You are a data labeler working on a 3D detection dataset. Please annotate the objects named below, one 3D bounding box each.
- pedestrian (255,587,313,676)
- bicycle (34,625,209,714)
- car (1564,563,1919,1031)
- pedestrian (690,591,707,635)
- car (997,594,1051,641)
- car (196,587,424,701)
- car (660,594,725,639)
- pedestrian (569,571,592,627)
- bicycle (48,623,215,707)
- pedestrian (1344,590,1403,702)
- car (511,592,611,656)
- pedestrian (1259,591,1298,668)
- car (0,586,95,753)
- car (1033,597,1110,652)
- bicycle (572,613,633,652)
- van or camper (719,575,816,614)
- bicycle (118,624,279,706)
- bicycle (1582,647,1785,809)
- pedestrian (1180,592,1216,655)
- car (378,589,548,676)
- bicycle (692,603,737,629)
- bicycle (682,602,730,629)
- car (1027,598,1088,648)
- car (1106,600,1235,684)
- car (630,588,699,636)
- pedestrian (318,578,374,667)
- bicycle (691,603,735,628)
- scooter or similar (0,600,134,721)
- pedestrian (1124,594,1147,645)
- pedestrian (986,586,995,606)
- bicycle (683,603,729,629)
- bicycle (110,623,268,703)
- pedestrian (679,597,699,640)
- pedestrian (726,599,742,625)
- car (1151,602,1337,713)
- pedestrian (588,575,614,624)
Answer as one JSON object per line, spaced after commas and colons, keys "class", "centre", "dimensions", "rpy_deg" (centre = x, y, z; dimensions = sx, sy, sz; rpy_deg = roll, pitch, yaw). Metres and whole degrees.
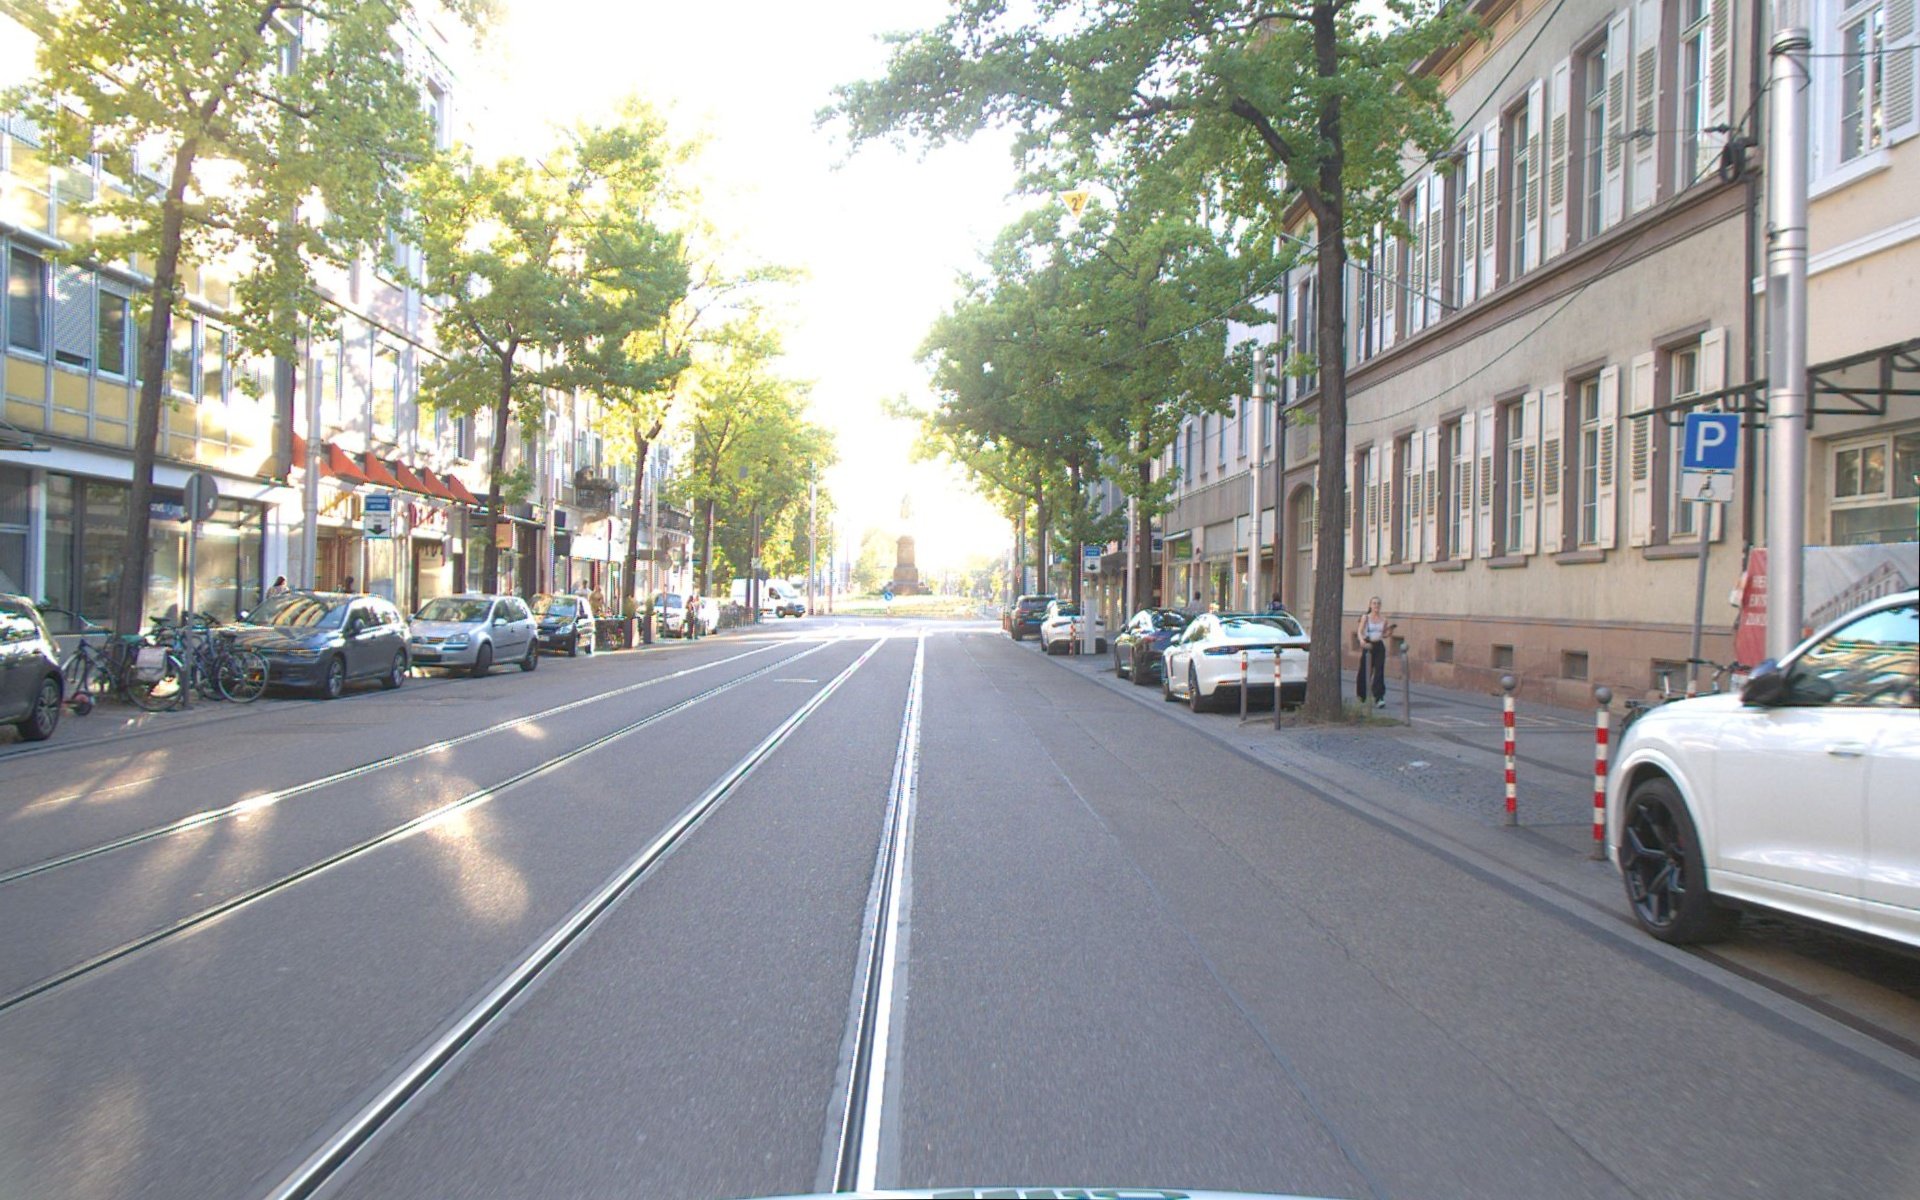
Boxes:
{"class": "pedestrian", "centre": [-13.277, 0.614, 32.516], "dimensions": [0.773, 1.723, 0.913], "rpy_deg": [1, 0, -2]}
{"class": "bicycle", "centre": [-10.040, 0.825, 19.823], "dimensions": [1.930, 1.019, 0.330], "rpy_deg": [1, 0, 1]}
{"class": "car", "centre": [4.455, 0.705, 6.583], "dimensions": [1.958, 1.717, 4.963], "rpy_deg": [-1, 0, -4]}
{"class": "pedestrian", "centre": [-9.417, 0.469, 59.515], "dimensions": [0.510, 1.596, 0.633], "rpy_deg": [0, -1, -1]}
{"class": "car", "centre": [2.609, 0.693, 68.339], "dimensions": [1.899, 1.790, 4.678], "rpy_deg": [-3, 0, -1]}
{"class": "car", "centre": [-9.650, 0.602, 24.965], "dimensions": [1.677, 1.486, 4.485], "rpy_deg": [2, 0, -1]}
{"class": "car", "centre": [-10.786, 0.644, 66.985], "dimensions": [1.799, 1.607, 4.701], "rpy_deg": [4, 0, -1]}
{"class": "pedestrian", "centre": [-13.964, -0.036, 60.872], "dimensions": [0.707, 2.049, 0.642], "rpy_deg": [1, 0, -1]}
{"class": "bicycle", "centre": [-10.543, 0.815, 21.062], "dimensions": [1.929, 1.019, 0.419], "rpy_deg": [1, 0, 3]}
{"class": "pedestrian", "centre": [6.041, 0.664, 24.178], "dimensions": [0.636, 1.601, 0.798], "rpy_deg": [1, 0, -1]}
{"class": "car", "centre": [-10.079, 0.588, 42.035], "dimensions": [1.632, 1.453, 3.826], "rpy_deg": [4, 0, -2]}
{"class": "pedestrian", "centre": [7.220, 0.663, 37.547], "dimensions": [0.644, 1.694, 0.888], "rpy_deg": [-2, 0, -2]}
{"class": "car", "centre": [-9.706, 0.619, 15.104], "dimensions": [1.758, 1.516, 4.236], "rpy_deg": [2, 0, -7]}
{"class": "car", "centre": [3.391, 0.727, 50.969], "dimensions": [1.953, 1.524, 4.679], "rpy_deg": [-2, 0, -1]}
{"class": "bicycle", "centre": [-10.000, 0.906, 46.311], "dimensions": [1.582, 0.982, 0.433], "rpy_deg": [3, 0, 4]}
{"class": "van or camper", "centre": [-12.990, -0.386, 111.397], "dimensions": [6.185, 2.516, 2.609], "rpy_deg": [1, 0, 32]}
{"class": "bicycle", "centre": [-9.898, 0.841, 21.520], "dimensions": [1.930, 1.019, 0.330], "rpy_deg": [1, 0, 1]}
{"class": "bicycle", "centre": [5.654, 0.959, 13.056], "dimensions": [0.410, 1.119, 1.983], "rpy_deg": [-1, 0, -11]}
{"class": "pedestrian", "centre": [6.931, 0.673, 48.228], "dimensions": [0.841, 1.783, 0.932], "rpy_deg": [-2, 0, -1]}
{"class": "car", "centre": [-9.353, 0.589, 31.496], "dimensions": [1.730, 1.523, 4.176], "rpy_deg": [1, 0, 4]}
{"class": "bicycle", "centre": [-11.573, 0.745, 78.055], "dimensions": [1.982, 1.124, 0.501], "rpy_deg": [3, -1, 1]}
{"class": "bicycle", "centre": [-11.673, 0.710, 75.947], "dimensions": [2.083, 1.124, 0.497], "rpy_deg": [3, -1, -27]}
{"class": "car", "centre": [3.416, 0.774, 58.572], "dimensions": [1.740, 1.618, 3.890], "rpy_deg": [-3, 0, -2]}
{"class": "car", "centre": [4.134, 0.778, 33.176], "dimensions": [1.796, 1.504, 4.760], "rpy_deg": [-1, 0, -2]}
{"class": "car", "centre": [-10.980, 0.427, 61.728], "dimensions": [1.799, 1.607, 4.115], "rpy_deg": [4, 0, -1]}
{"class": "pedestrian", "centre": [-12.126, 0.442, 32.694], "dimensions": [0.827, 1.723, 0.740], "rpy_deg": [1, 0, -2]}
{"class": "bicycle", "centre": [-11.743, 0.739, 78.637], "dimensions": [1.982, 1.124, 0.501], "rpy_deg": [3, -1, 1]}
{"class": "scooter or similar", "centre": [-10.263, 0.684, 18.920], "dimensions": [1.390, 1.293, 0.375], "rpy_deg": [3, 0, 3]}
{"class": "pedestrian", "centre": [5.993, 0.658, 56.535], "dimensions": [0.630, 1.699, 0.786], "rpy_deg": [-2, 0, -1]}
{"class": "pedestrian", "centre": [2.502, -0.362, 135.702], "dimensions": [0.623, 1.634, 0.771], "rpy_deg": [1, 0, -4]}
{"class": "bicycle", "centre": [-11.741, 0.735, 76.551], "dimensions": [1.999, 1.124, 0.497], "rpy_deg": [3, -1, -27]}
{"class": "bicycle", "centre": [-10.201, 0.835, 21.899], "dimensions": [1.930, 1.019, 0.330], "rpy_deg": [1, 0, 1]}
{"class": "pedestrian", "centre": [-9.616, 0.657, 58.672], "dimensions": [0.607, 1.536, 0.729], "rpy_deg": [0, -1, -1]}
{"class": "pedestrian", "centre": [-11.591, 0.605, 84.936], "dimensions": [0.713, 1.313, 0.856], "rpy_deg": [2, 0, -4]}
{"class": "car", "centre": [4.151, 0.785, 24.968], "dimensions": [1.873, 1.445, 4.887], "rpy_deg": [-2, 0, -1]}
{"class": "pedestrian", "centre": [-13.199, -0.028, 60.885], "dimensions": [0.707, 1.791, 1.089], "rpy_deg": [1, 0, -1]}
